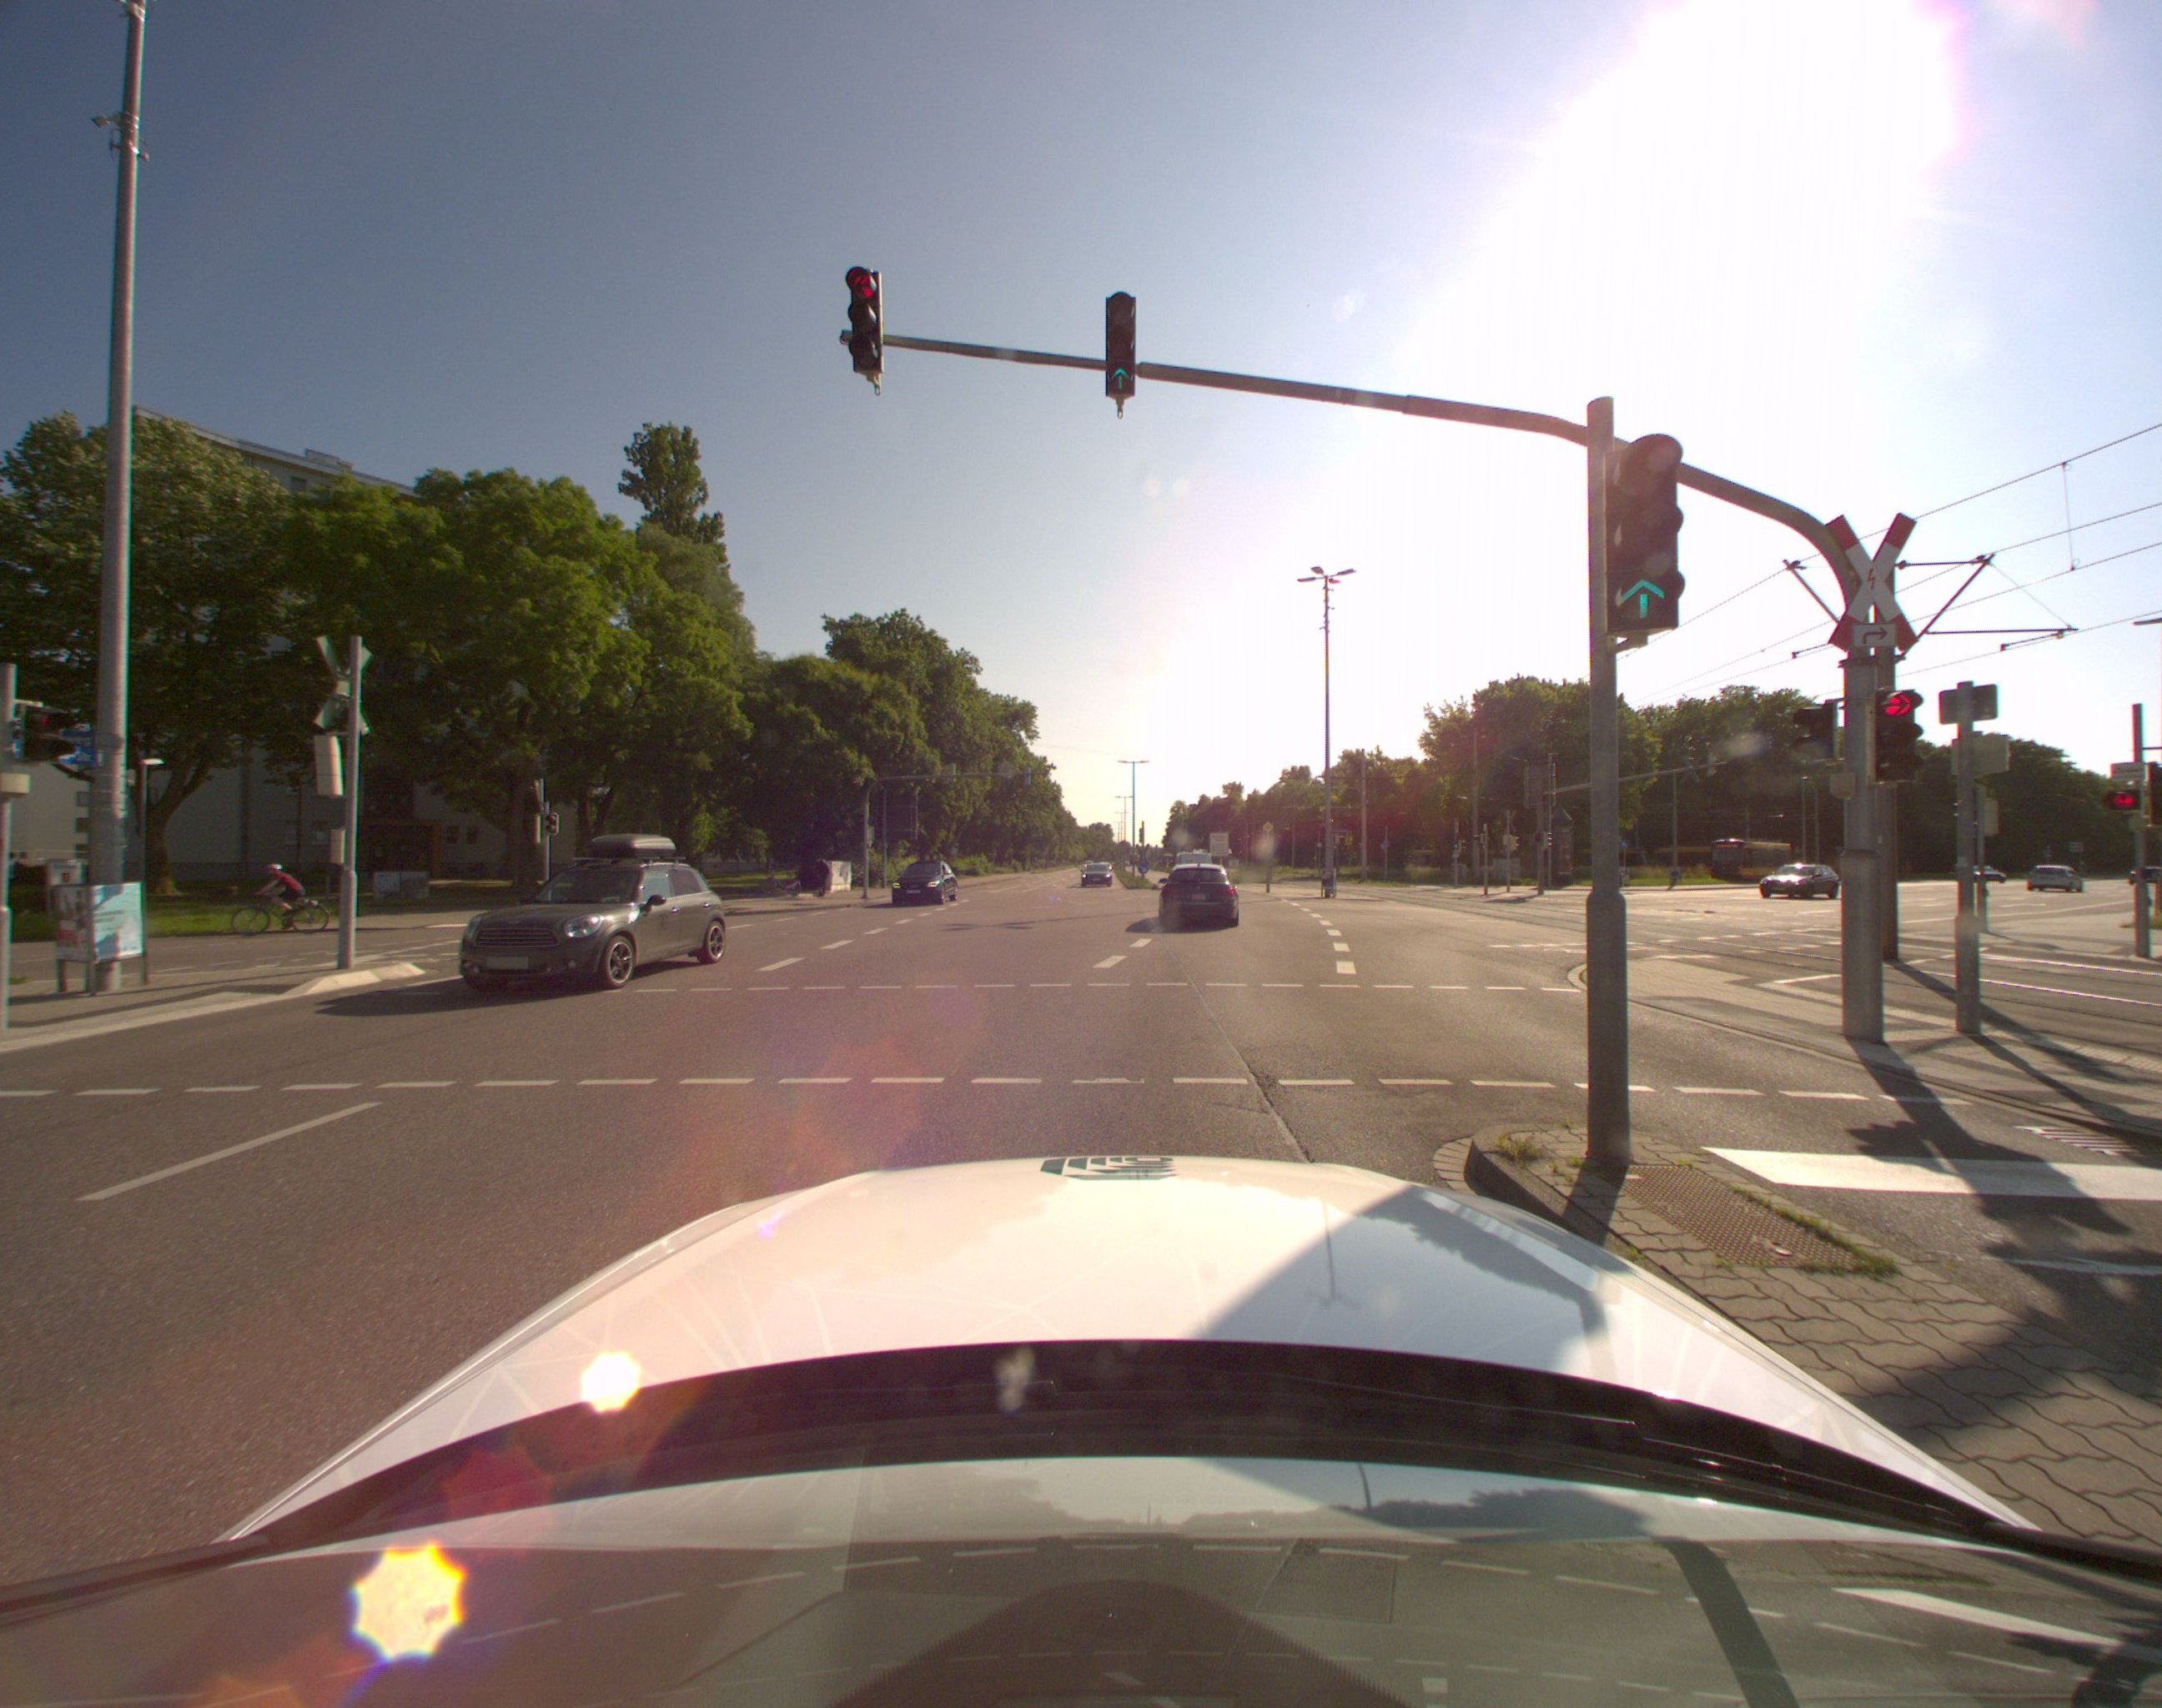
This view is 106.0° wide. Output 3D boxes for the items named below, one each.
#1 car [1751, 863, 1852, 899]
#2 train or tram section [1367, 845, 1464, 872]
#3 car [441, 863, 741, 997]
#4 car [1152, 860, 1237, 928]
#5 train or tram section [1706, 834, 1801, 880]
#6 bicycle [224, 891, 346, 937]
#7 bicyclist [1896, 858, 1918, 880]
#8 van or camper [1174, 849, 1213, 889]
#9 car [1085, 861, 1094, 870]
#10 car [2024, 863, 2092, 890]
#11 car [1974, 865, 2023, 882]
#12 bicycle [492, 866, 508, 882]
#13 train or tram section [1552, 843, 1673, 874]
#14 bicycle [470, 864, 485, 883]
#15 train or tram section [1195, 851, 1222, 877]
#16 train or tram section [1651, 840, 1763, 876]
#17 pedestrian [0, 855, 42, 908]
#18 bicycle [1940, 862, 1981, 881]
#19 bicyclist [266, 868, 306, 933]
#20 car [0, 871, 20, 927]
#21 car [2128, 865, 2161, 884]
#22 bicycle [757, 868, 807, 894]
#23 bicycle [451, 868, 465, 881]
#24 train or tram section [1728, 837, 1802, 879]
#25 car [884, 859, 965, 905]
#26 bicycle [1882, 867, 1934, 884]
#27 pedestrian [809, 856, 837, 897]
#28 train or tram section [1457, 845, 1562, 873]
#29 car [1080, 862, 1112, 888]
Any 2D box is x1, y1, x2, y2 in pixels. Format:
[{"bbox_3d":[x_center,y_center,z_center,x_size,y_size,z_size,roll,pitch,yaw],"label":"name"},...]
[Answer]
[{"bbox_3d":[34.314,1.254,38.769,4.873,1.563,2.026,-1,0,-28],"label":"car"},{"bbox_3d":[47.202,0.649,115.225,12.280,3.580,3.073,0,-1,31],"label":"train or tram section"},{"bbox_3d":[-6.509,0.896,11.428,1.783,1.520,3.999,-1,-1,0],"label":"car"},{"bbox_3d":[2.807,0.912,20.239,1.893,1.506,4.073,0,-1,7],"label":"car"},{"bbox_3d":[55.747,0.267,67.352,11.900,3.580,3.021,0,-1,-35],"label":"train or tram section"},{"bbox_3d":[-19.621,1.459,20.141,2.081,1.040,0.615,0,-1,-36],"label":"bicycle"},{"bbox_3d":[76.306,1.403,75.225,1.141,2.014,1.091,1,-1,-22],"label":"bicyclist"},{"bbox_3d":[6.205,0.820,45.271,1.983,2.096,4.606,0,-1,6],"label":"van or camper"},{"bbox_3d":[1.751,2.476,173.197,1.781,1.772,4.572,-1,-1,3],"label":"car"},{"bbox_3d":[60.610,1.368,50.521,4.213,1.563,1.839,0,-1,-28],"label":"car"},{"bbox_3d":[76.528,1.634,67.915,4.317,1.335,1.734,0,-1,-28],"label":"car"},{"bbox_3d":[-33.591,1.159,47.064,0.678,0.875,2.459,1,0,-34],"label":"bicycle"},{"bbox_3d":[64.546,0.576,99.368,3.065,3.580,12.104,1,-1,-33],"label":"train or tram section"},{"bbox_3d":[-34.316,1.125,46.333,0.615,1.066,1.896,2,-3,-36],"label":"bicycle"},{"bbox_3d":[18.269,1.495,117.629,2.783,3.618,12.970,1,-1,4],"label":"train or tram section"},{"bbox_3d":[67.148,0.433,87.928,3.033,3.579,12.234,0,0,2],"label":"train or tram section"},{"bbox_3d":[-34.660,0.895,26.588,0.619,1.713,0.707,0,-1,12],"label":"pedestrian"},{"bbox_3d":[83.291,1.619,77.148,0.798,1.713,2.585,1,-1,-35],"label":"bicycle"},{"bbox_3d":[-19.643,1.125,20.126,0.605,1.560,0.602,1,-1,-36],"label":"bicyclist"},{"bbox_3d":[-28.790,1.253,19.695,1.783,1.439,3.978,0,2,-17],"label":"car"},{"bbox_3d":[84.099,1.582,63.963,3.536,1.383,1.593,0,-1,-26],"label":"car"},{"bbox_3d":[-12.973,1.178,35.338,1.903,1.119,0.632,0,-1,0],"label":"bicycle"},{"bbox_3d":[-35.185,1.155,45.998,0.509,0.708,2.094,1,0,-34],"label":"bicycle"},{"bbox_3d":[63.865,0.390,76.371,3.015,3.579,12.305,0,-1,29],"label":"train or tram section"},{"bbox_3d":[-5.982,1.024,31.652,1.980,1.659,4.390,-1,-1,5],"label":"car"},{"bbox_3d":[76.315,1.988,75.167,1.131,1.454,3.205,1,-1,-22],"label":"bicycle"},{"bbox_3d":[-11.104,0.954,35.110,0.812,1.752,0.933,0,-1,6],"label":"pedestrian"},{"bbox_3d":[56.981,0.633,108.570,12.072,3.580,3.073,0,-1,36],"label":"train or tram section"},{"bbox_3d":[0.945,1.258,50.144,1.822,1.431,4.734,-1,-1,2],"label":"car"}]
